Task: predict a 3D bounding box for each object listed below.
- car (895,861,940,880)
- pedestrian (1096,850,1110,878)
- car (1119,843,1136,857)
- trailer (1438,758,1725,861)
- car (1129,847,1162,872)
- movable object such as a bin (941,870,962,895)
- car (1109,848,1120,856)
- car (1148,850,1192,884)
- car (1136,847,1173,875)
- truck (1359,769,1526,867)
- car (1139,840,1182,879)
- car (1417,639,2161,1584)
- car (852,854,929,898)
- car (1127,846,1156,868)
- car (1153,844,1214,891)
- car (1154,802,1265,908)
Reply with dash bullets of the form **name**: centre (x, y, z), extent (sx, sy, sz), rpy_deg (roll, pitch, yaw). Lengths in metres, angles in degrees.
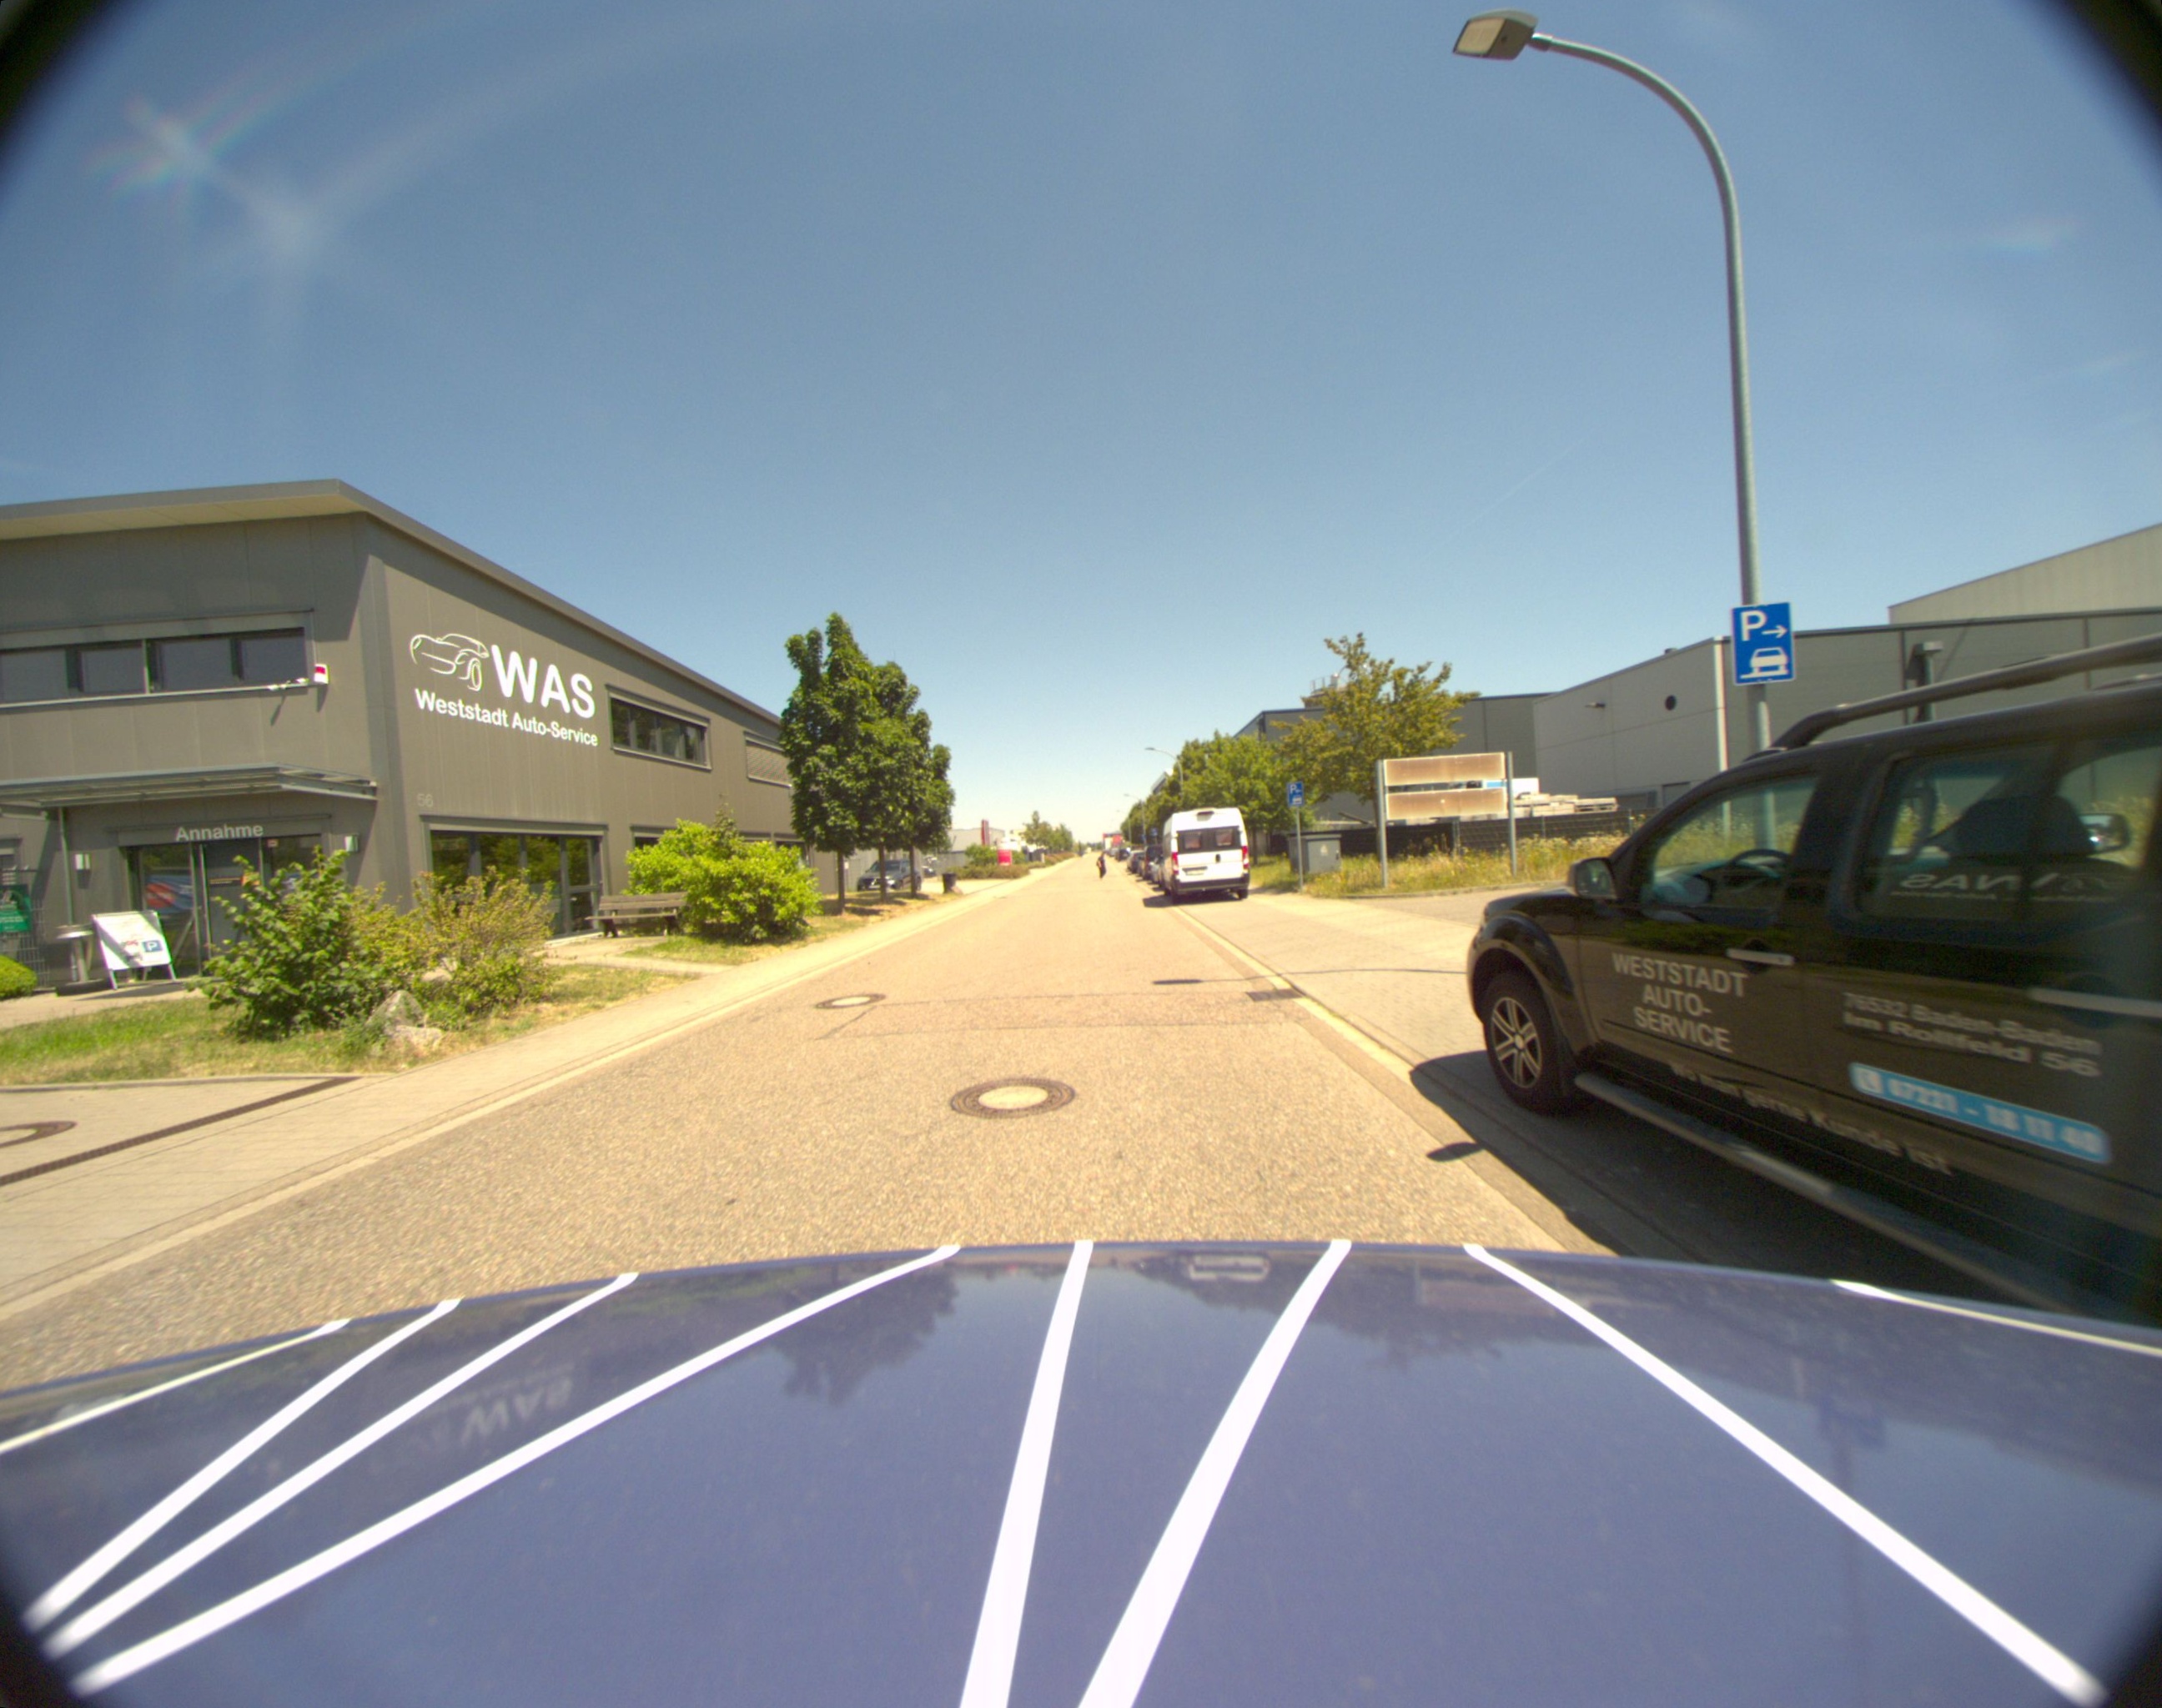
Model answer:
- **car**: centre (-13.720, 1.386, 63.782), extent (3.359, 1.361, 1.792), rpy_deg (-3, 1, -3)
- **pedestrian**: centre (1.279, 0.575, 44.058), extent (0.680, 1.559, 0.534), rpy_deg (-3, 1, -6)
- **car**: centre (5.743, -0.508, 94.752), extent (1.798, 1.638, 3.831), rpy_deg (-5, 0, 0)
- **trailer**: centre (23.658, -2.088, 36.051), extent (12.538, 3.948, 3.153), rpy_deg (-4, 1, -10)
- **car**: centre (4.359, 0.347, 52.177), extent (1.798, 1.477, 4.451), rpy_deg (-5, 0, 1)
- **movable object such as a bin**: centre (-5.929, 1.298, 34.771), extent (0.616, 1.040, 0.810), rpy_deg (-3, 1, 14)
- **car**: centre (5.999, -0.392, 136.592), extent (1.798, 1.319, 3.831), rpy_deg (-5, 0, 0)
- **car**: centre (4.007, 0.564, 34.709), extent (1.647, 1.303, 4.000), rpy_deg (-5, 0, 3)
- **car**: centre (4.422, 0.382, 46.132), extent (1.798, 1.456, 4.452), rpy_deg (-5, 0, 1)
- **truck**: centre (16.416, -1.604, 34.724), extent (6.054, 3.948, 3.154), rpy_deg (-4, 1, -10)
- **car**: centre (4.072, 0.261, 39.693), extent (1.835, 1.800, 4.082), rpy_deg (-5, 0, 2)
- **car**: centre (3.101, 0.444, 2.026), extent (1.978, 1.890, 5.402), rpy_deg (-5, 0, 1)
- **car**: centre (-9.157, 1.015, 37.043), extent (2.156, 1.800, 4.914), rpy_deg (-2, 1, 4)
- **car**: centre (4.558, 0.224, 57.999), extent (1.798, 1.477, 4.189), rpy_deg (-5, 0, 0)
- **car**: centre (3.908, 0.476, 29.678), extent (1.835, 1.532, 4.625), rpy_deg (-5, 0, 2)
- **car**: centre (3.661, 0.010, 22.962), extent (2.328, 2.583, 6.085), rpy_deg (-5, 0, 2)
